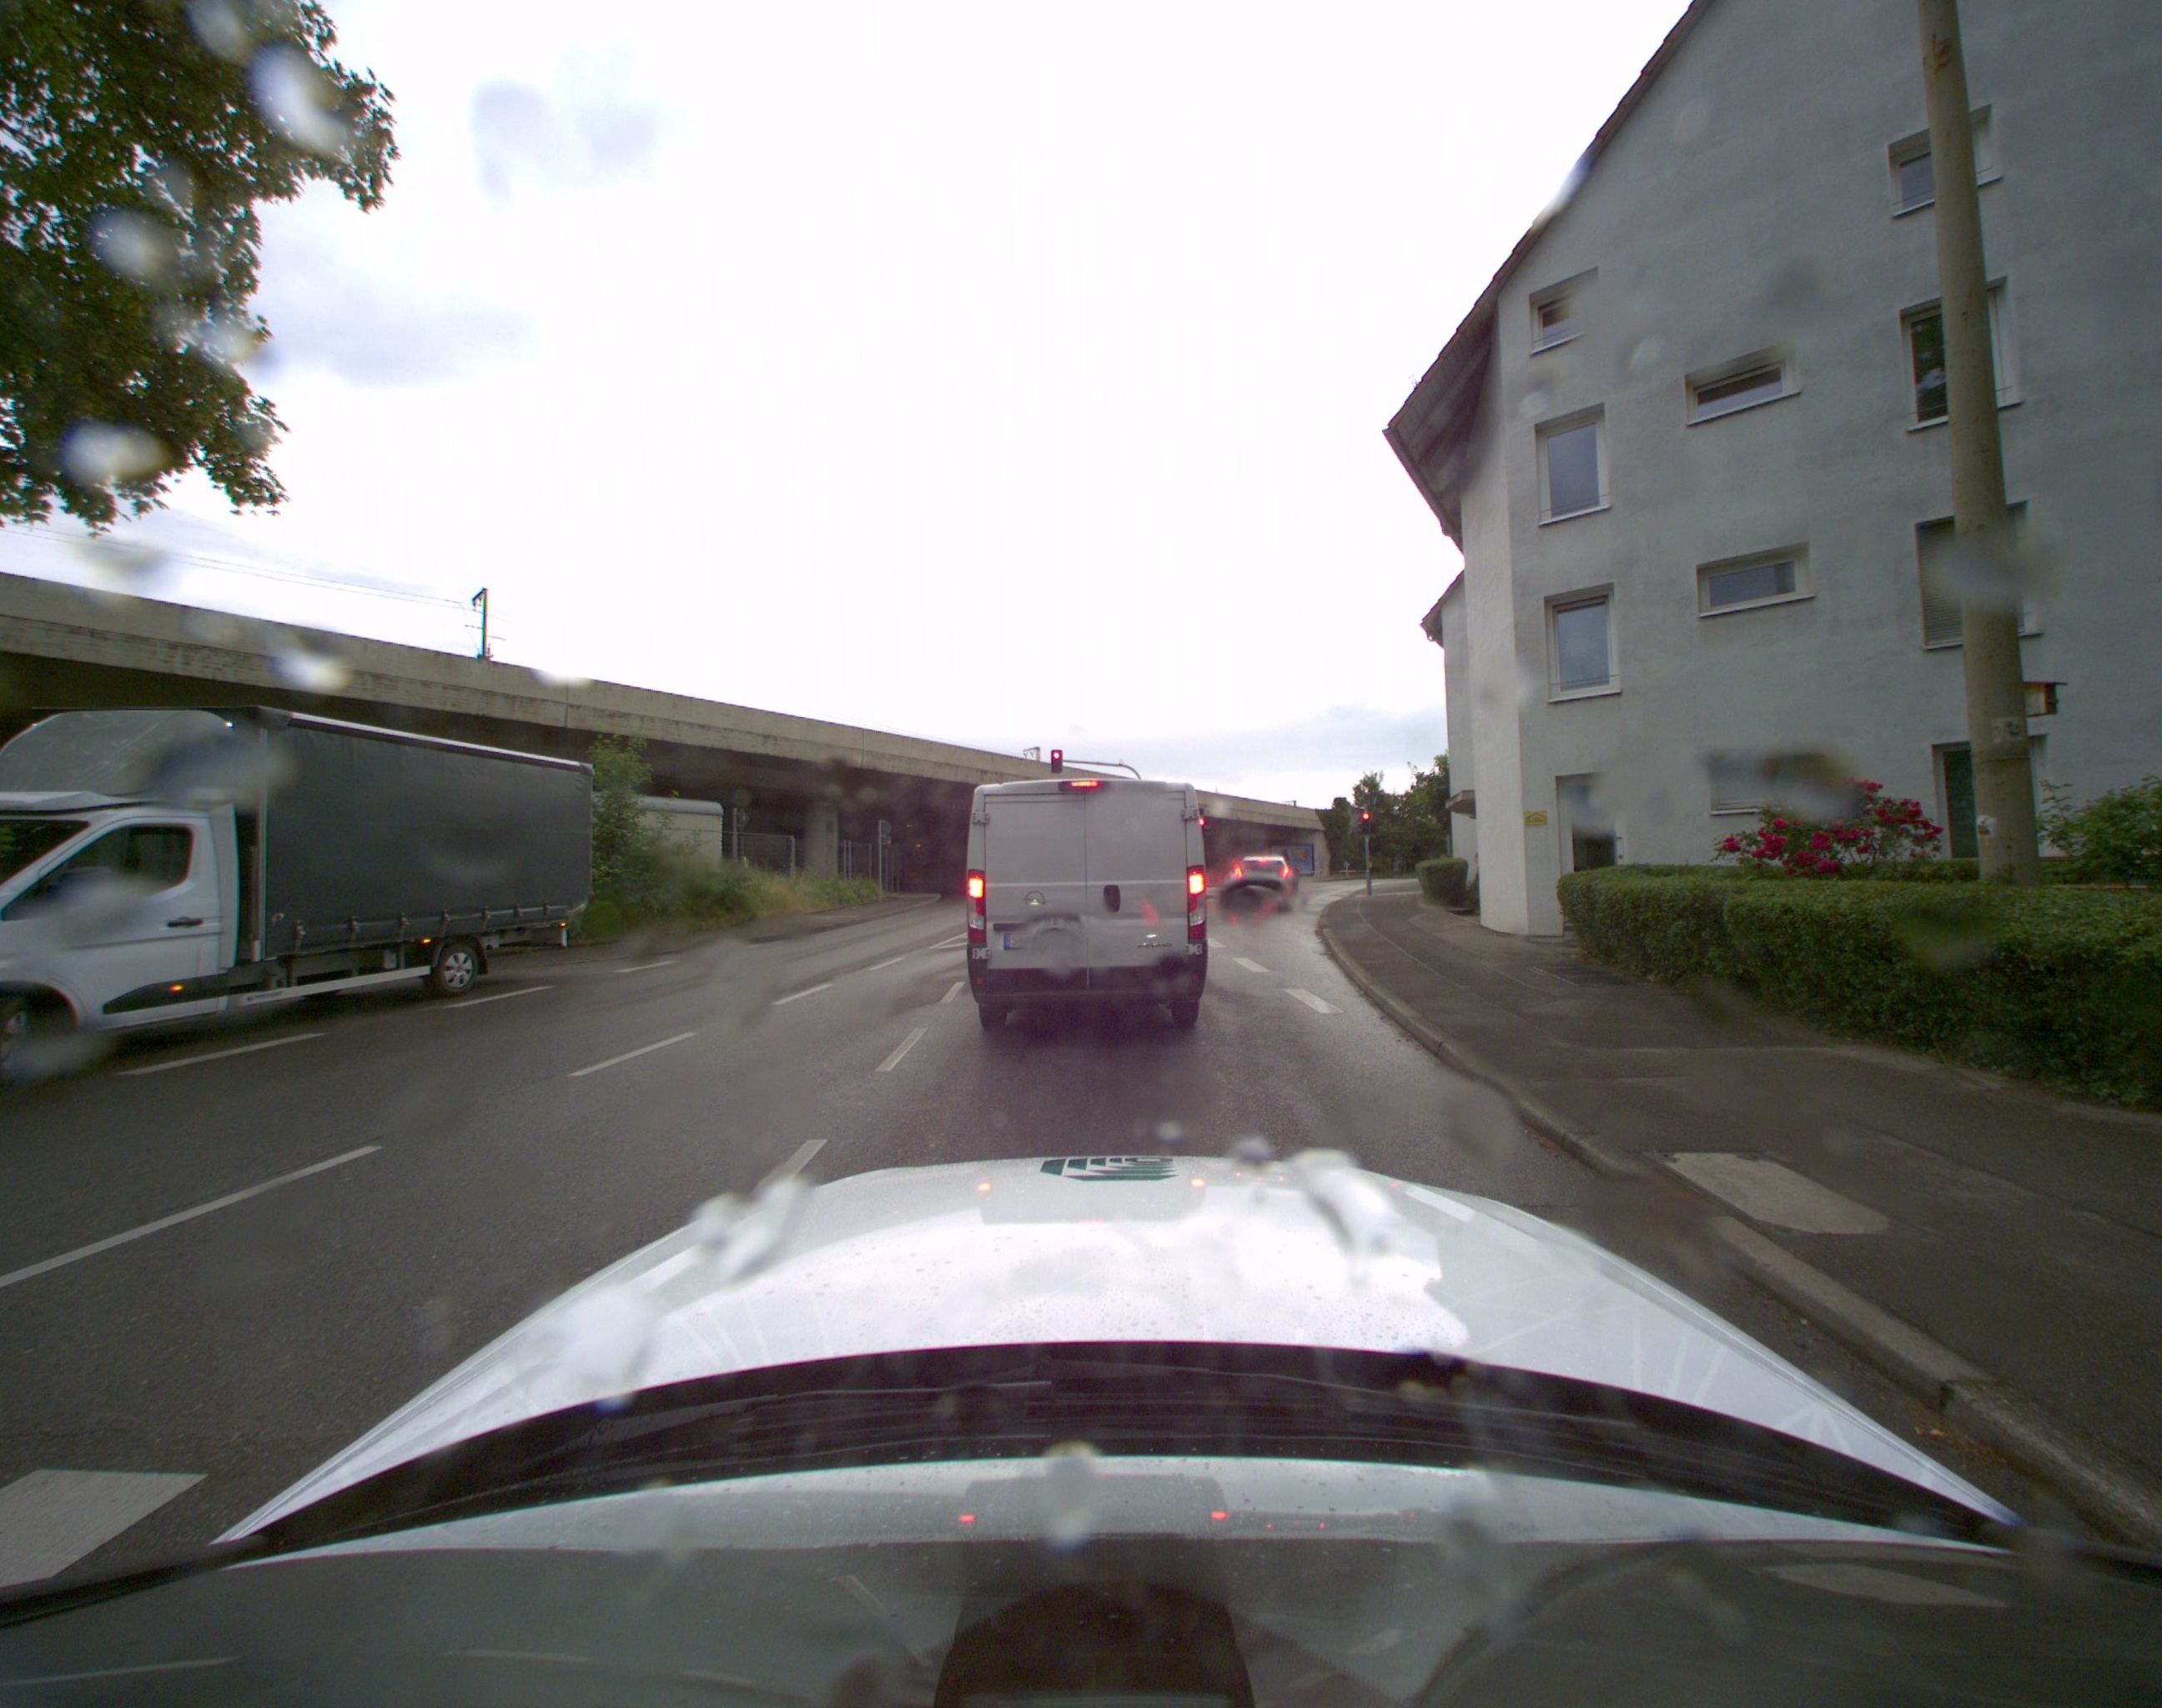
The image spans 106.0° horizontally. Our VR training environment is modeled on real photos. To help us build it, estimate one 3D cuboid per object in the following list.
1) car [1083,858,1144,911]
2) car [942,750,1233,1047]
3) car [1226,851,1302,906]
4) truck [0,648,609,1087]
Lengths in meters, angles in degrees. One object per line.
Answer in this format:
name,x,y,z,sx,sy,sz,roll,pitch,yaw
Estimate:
car,1.232,1.066,28.969,1.984,1.729,4.004,-1,-2,5
car,0.063,0.367,9.288,2.297,2.343,5.281,-2,0,0
car,5.746,0.723,25.218,1.978,1.549,4.017,-2,-1,17
truck,-9.078,0.177,9.180,2.599,3.237,7.782,-1,-1,3
